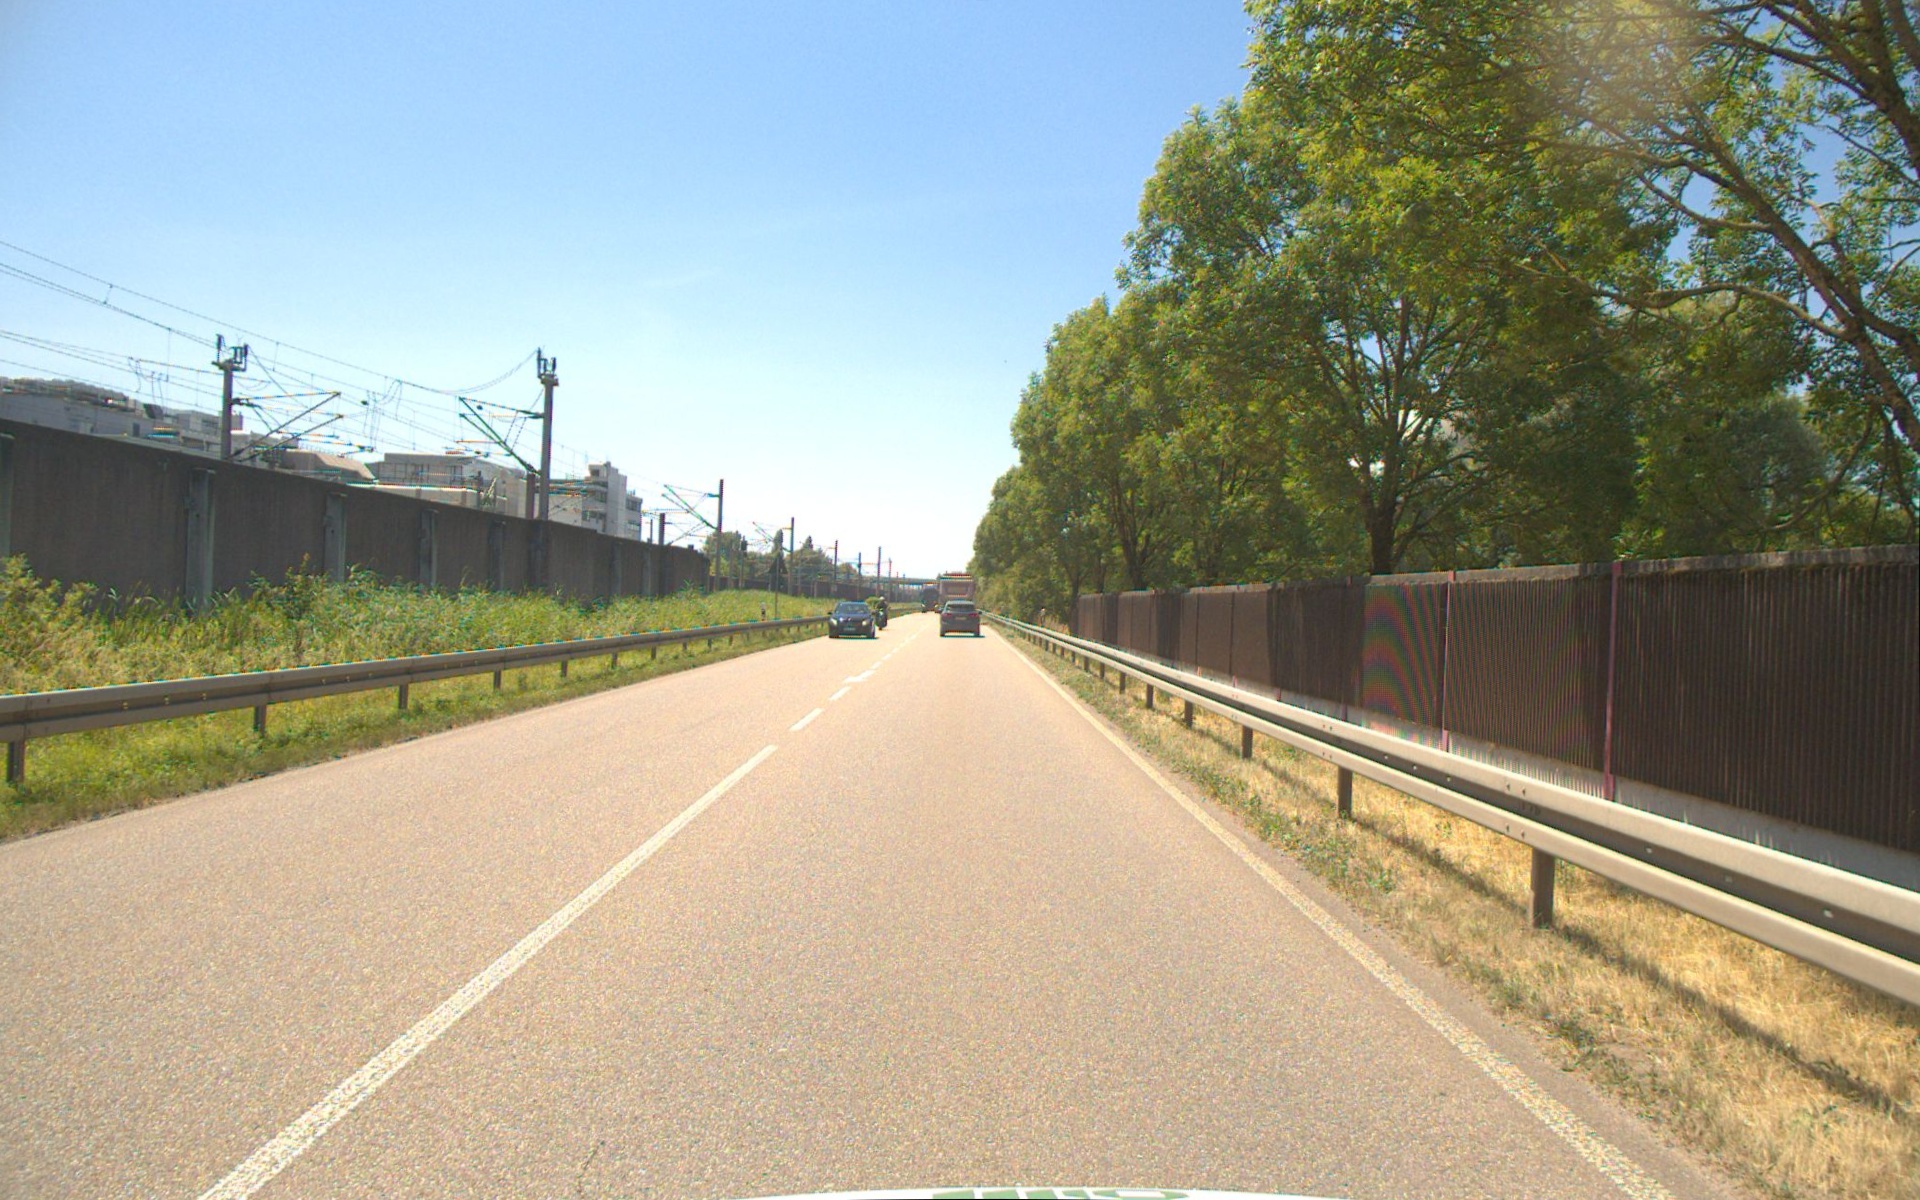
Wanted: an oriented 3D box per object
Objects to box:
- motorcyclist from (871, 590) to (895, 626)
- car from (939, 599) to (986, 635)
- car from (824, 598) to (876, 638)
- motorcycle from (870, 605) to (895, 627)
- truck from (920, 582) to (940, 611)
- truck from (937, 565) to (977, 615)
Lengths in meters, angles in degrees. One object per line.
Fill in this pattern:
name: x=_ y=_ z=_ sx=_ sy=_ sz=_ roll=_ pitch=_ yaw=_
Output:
motorcyclist: x=-4.100 y=0.425 z=88.044 sx=1.228 sy=1.897 sz=1.245 roll=1 pitch=0 yaw=-1
car: x=0.089 y=0.754 z=74.236 sx=1.953 sy=1.534 sz=3.998 roll=1 pitch=0 yaw=-2
car: x=-4.492 y=0.712 z=67.769 sx=1.953 sy=1.534 sz=3.999 roll=1 pitch=0 yaw=-2
motorcycle: x=-4.111 y=0.848 z=88.098 sx=1.212 sy=1.091 sz=3.128 roll=1 pitch=0 yaw=-1
truck: x=-4.323 y=-0.454 z=240.852 sx=2.740 sy=4.047 sz=10.498 roll=1 pitch=0 yaw=0
truck: x=-0.250 y=-0.672 z=120.752 sx=2.713 sy=3.485 sz=10.818 roll=1 pitch=0 yaw=0
